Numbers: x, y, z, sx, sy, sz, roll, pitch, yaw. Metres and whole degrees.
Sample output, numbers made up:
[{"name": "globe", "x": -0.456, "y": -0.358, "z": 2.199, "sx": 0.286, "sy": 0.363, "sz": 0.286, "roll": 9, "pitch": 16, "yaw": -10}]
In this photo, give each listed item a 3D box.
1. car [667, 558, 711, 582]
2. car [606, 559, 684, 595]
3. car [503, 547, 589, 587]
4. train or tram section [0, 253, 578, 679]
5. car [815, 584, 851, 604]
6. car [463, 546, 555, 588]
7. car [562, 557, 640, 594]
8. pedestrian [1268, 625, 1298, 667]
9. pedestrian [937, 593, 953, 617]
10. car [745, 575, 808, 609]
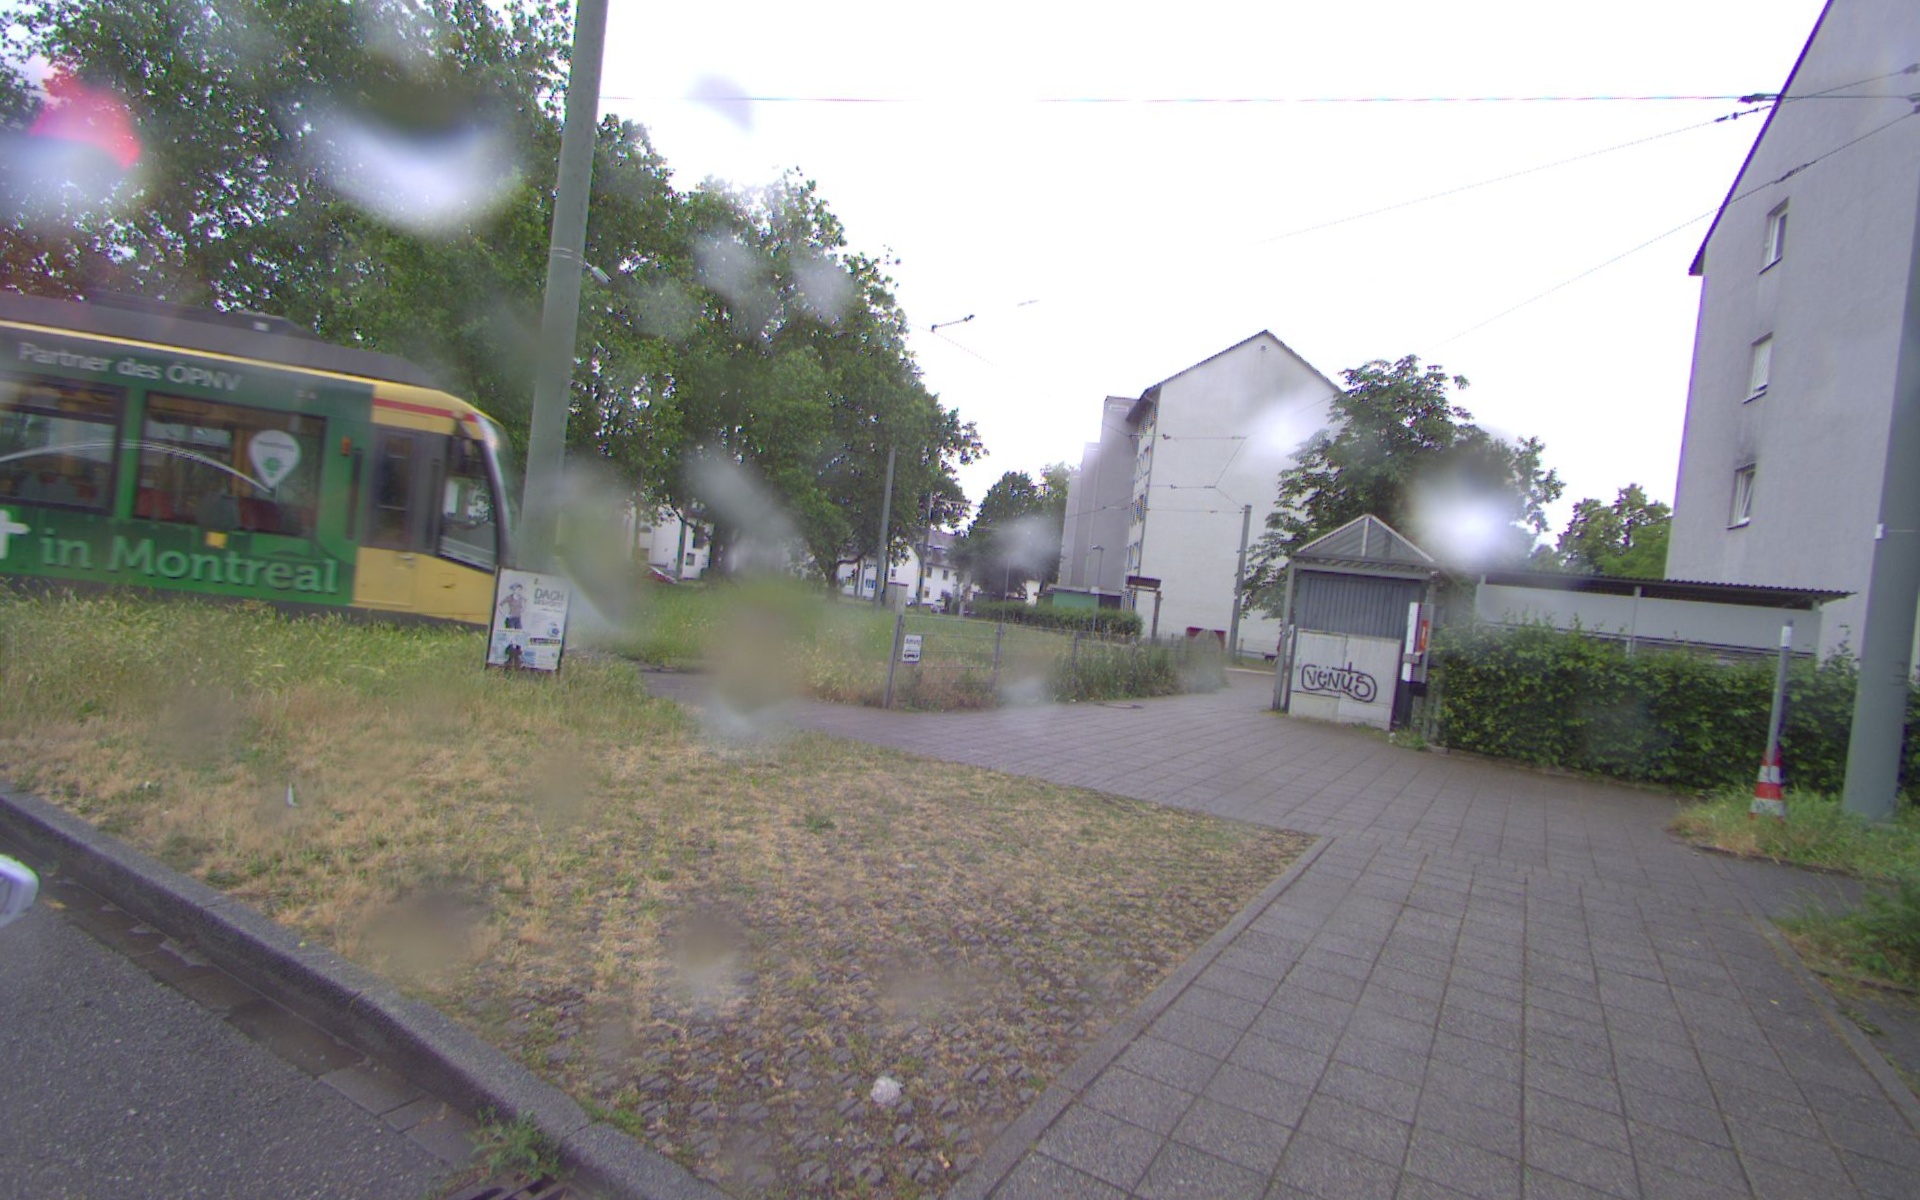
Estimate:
[{"name": "car", "x": -25.711, "y": -2.798, "z": 95.530, "sx": 1.859, "sy": 1.679, "sz": 3.692, "roll": 6, "pitch": -2, "yaw": 32}, {"name": "car", "x": -18.629, "y": -1.331, "z": 59.595, "sx": 3.842, "sy": 1.513, "sz": 1.812, "roll": 7, "pitch": -2, "yaw": 3}, {"name": "car", "x": -21.979, "y": -1.725, "z": 53.505, "sx": 3.855, "sy": 1.512, "sz": 1.806, "roll": 8, "pitch": -2, "yaw": -15}, {"name": "train or tram section", "x": -10.714, "y": -1.653, "z": 10.564, "sx": 12.012, "sy": 3.597, "sz": 2.761, "roll": 7, "pitch": 0, "yaw": -15}, {"name": "car", "x": -14.086, "y": -0.621, "z": 111.613, "sx": 1.859, "sy": 1.679, "sz": 3.692, "roll": 6, "pitch": -2, "yaw": 32}, {"name": "car", "x": -22.816, "y": -1.642, "z": 51.068, "sx": 3.855, "sy": 1.512, "sz": 1.806, "roll": 8, "pitch": -2, "yaw": -15}, {"name": "car", "x": -20.112, "y": -1.357, "z": 56.539, "sx": 3.855, "sy": 1.512, "sz": 1.806, "roll": 8, "pitch": -2, "yaw": -15}, {"name": "pedestrian", "x": 13.949, "y": 1.968, "z": 43.457, "sx": 0.806, "sy": 1.674, "sz": 0.889, "roll": 6, "pitch": -1, "yaw": 41}, {"name": "pedestrian", "x": -1.220, "y": 0.388, "z": 81.153, "sx": 1.022, "sy": 1.811, "sz": 0.818, "roll": 7, "pitch": -1, "yaw": -3}, {"name": "car", "x": -12.742, "y": -0.544, "z": 70.108, "sx": 3.843, "sy": 1.785, "sz": 1.812, "roll": 7, "pitch": -2, "yaw": 0}]
